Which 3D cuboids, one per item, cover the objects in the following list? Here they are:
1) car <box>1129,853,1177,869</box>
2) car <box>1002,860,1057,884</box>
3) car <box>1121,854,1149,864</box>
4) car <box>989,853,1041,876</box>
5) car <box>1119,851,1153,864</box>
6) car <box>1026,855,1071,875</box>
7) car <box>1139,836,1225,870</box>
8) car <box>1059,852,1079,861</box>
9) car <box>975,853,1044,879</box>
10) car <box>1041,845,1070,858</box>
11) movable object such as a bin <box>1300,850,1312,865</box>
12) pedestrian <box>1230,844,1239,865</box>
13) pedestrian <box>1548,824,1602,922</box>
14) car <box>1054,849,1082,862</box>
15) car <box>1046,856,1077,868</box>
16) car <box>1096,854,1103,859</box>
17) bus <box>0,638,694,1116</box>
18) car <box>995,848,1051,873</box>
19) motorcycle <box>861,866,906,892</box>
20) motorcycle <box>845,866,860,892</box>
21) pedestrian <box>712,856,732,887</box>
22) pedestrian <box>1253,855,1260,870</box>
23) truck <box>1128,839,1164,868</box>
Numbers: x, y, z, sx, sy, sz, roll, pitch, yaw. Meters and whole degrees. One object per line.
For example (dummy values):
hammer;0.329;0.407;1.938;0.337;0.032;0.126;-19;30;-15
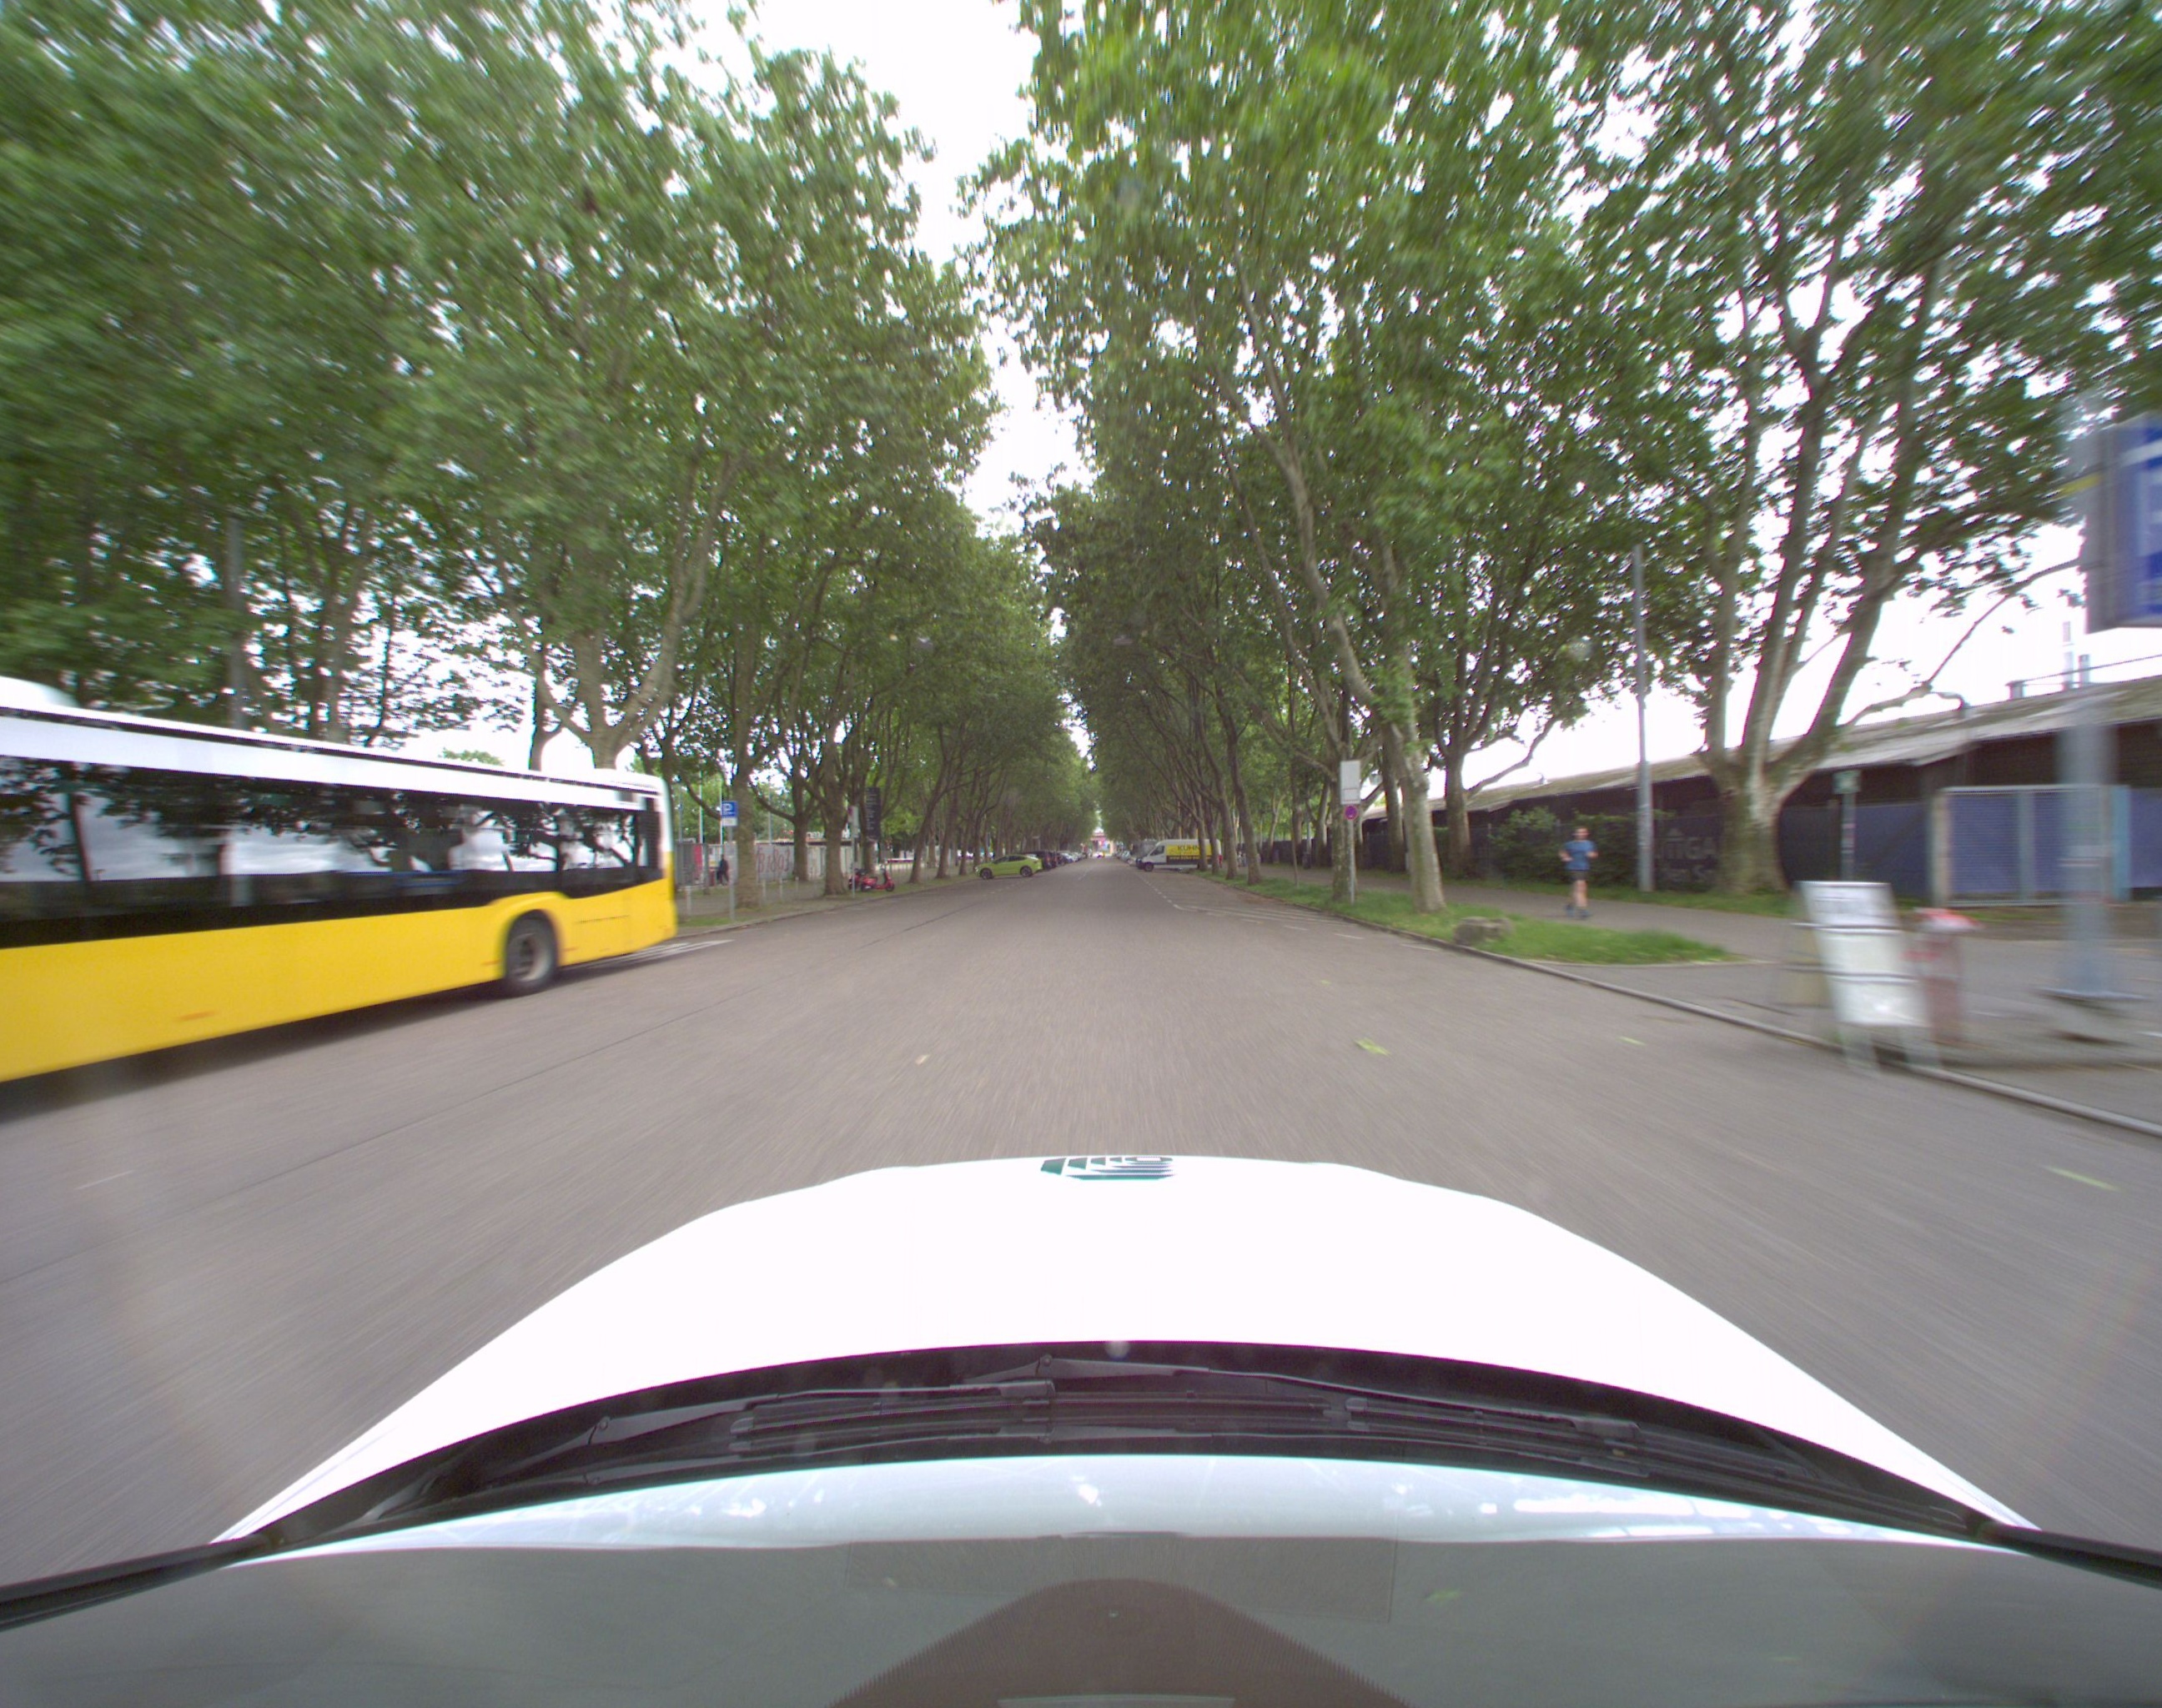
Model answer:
car;6.506;0.626;73.603;4.338;1.445;1.614;0;0;5
car;-4.773;1.648;75.912;4.886;1.924;2.209;-3;0;2
car;7.953;0.748;119.825;4.102;1.429;1.704;2;-1;3
car;-5.322;0.851;66.439;4.096;1.568;1.756;-3;0;-3
car;7.046;0.472;104.906;4.320;1.618;1.806;1;0;4
car;-4.065;1.358;101.410;5.418;2.128;1.940;-3;0;0
car;8.129;-0.050;66.007;6.852;2.695;2.129;0;0;2
car;-2.290;0.540;159.570;3.816;1.627;1.952;-3;0;-2
car;-4.942;0.811;56.362;4.496;1.618;1.760;-1;0;3
car;-4.019;-0.382;127.669;4.327;1.667;1.999;-4;0;-1
movable object such as a bin;14.909;0.213;53.950;0.566;0.959;0.675;-6;0;1
pedestrian;13.025;0.059;69.109;0.636;1.741;0.621;-3;0;5
pedestrian;10.477;0.391;17.284;0.705;2.014;0.884;0;0;10
car;-2.256;0.286;142.777;4.877;2.019;1.920;-3;-1;0
car;-2.828;1.136;119.753;4.366;1.597;1.999;-3;0;-1
car;4.893;0.696;213.620;1.650;1.364;4.109;-4;0;-2
bus;-8.312;0.224;7.653;2.640;3.154;12.379;-4;0;3
car;-5.051;0.564;71.259;4.751;1.924;2.015;-3;0;-3
motorcycle;-9.289;1.162;38.342;0.568;1.158;2.089;-1;0;44
motorcycle;-10.743;1.164;38.247;0.575;1.158;2.064;0;0;-18
pedestrian;-20.345;0.975;46.155;0.701;1.754;0.874;0;0;1
pedestrian;13.269;0.648;61.679;0.393;1.084;0.419;-3;-1;5
truck;6.883;-0.025;87.321;2.456;2.938;7.520;0;0;-7
